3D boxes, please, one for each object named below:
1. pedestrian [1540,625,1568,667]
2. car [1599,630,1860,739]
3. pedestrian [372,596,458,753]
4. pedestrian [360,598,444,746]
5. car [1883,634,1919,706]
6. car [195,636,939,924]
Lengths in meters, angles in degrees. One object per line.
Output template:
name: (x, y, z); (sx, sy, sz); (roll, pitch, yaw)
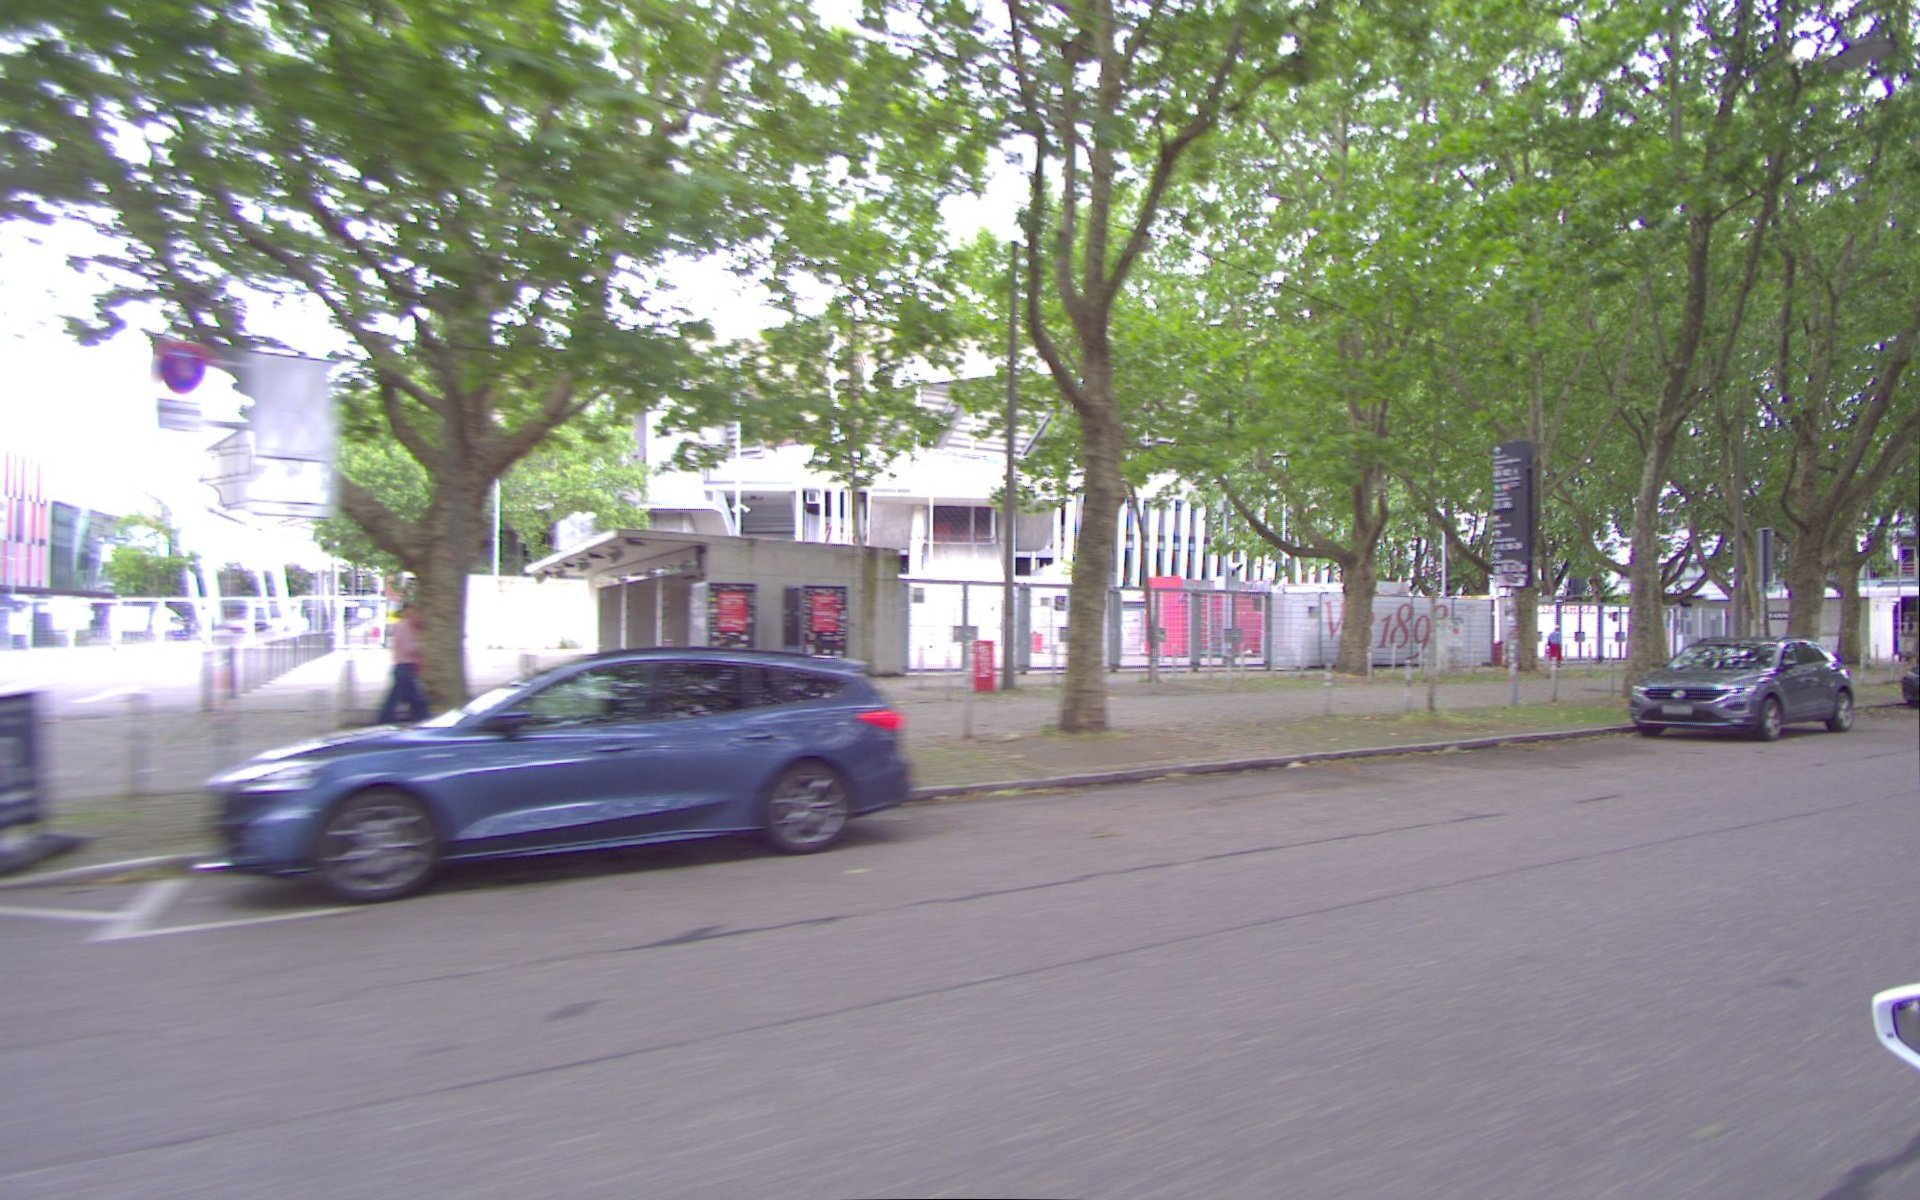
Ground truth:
pedestrian: (22.432, 1.743, 37.946); (0.652, 1.564, 0.664); (1, -1, -29)
car: (12.349, 1.267, 16.087); (4.102, 1.547, 1.870); (1, -3, -30)
pedestrian: (-6.420, 0.863, 11.863); (0.755, 1.793, 0.577); (1, -1, -15)
pedestrian: (-6.852, 0.874, 12.363); (0.755, 1.765, 0.575); (1, -1, -15)
car: (22.179, 1.492, 21.747); (4.569, 1.485, 1.820); (1, -3, -28)
car: (-2.533, 1.026, 7.248); (4.520, 1.505, 1.717); (1, -2, -30)
